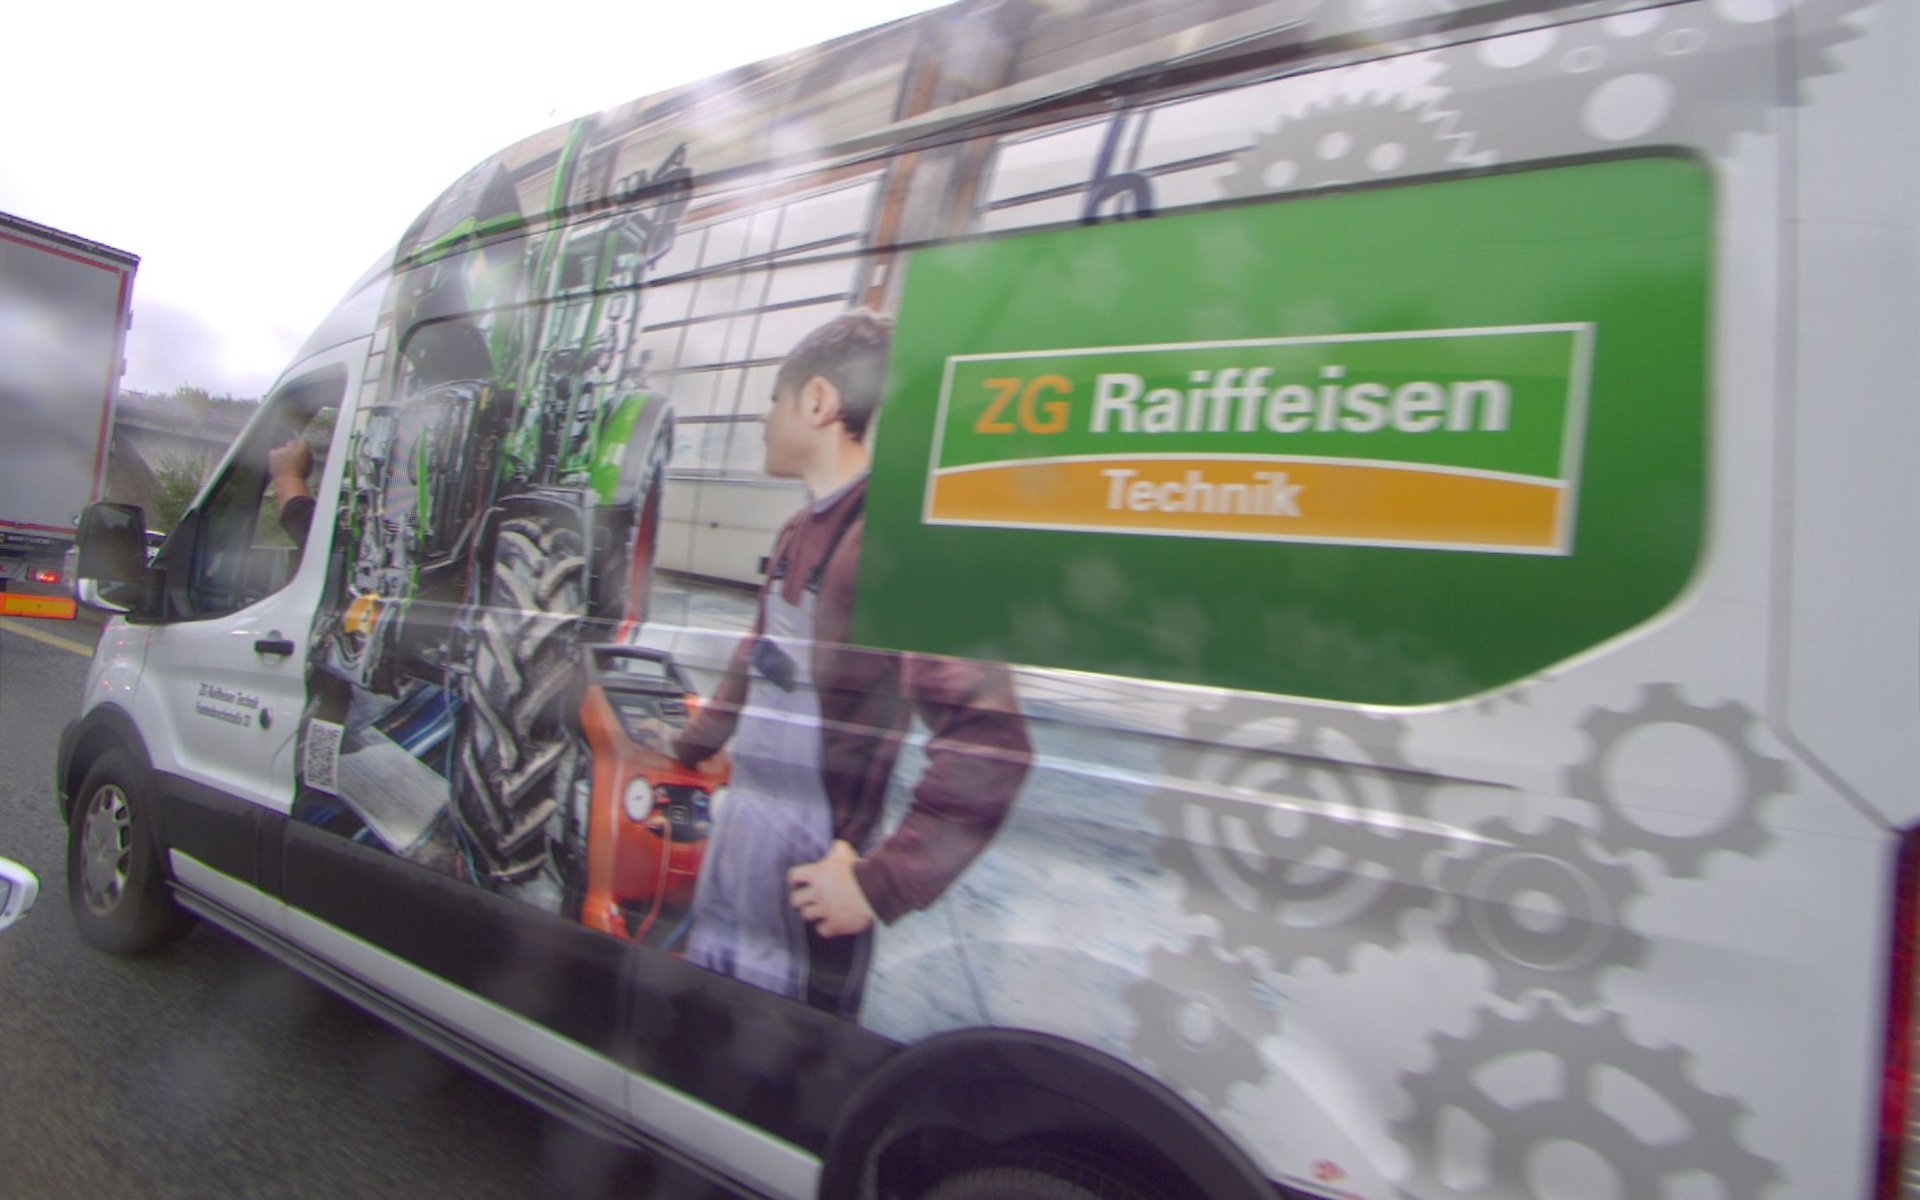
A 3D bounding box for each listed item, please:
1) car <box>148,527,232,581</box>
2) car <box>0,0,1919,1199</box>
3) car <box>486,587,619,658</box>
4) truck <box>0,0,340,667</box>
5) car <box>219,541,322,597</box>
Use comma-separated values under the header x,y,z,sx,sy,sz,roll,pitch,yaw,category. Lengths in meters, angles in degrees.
x,y,z,sx,sy,sz,roll,pitch,yaw,category
-36.149,-2.172,47.215,4.058,2.082,1.731,6,-1,34,car
-0.543,0.061,3.065,6.018,2.707,2.147,6,-1,33,car
-13.428,0.723,33.100,4.197,1.778,1.732,6,-1,31,car
-16.355,-3.262,14.481,20.044,5.740,3.985,6,-1,33,truck
-29.645,-1.335,43.217,4.651,1.850,1.945,6,-2,34,car
